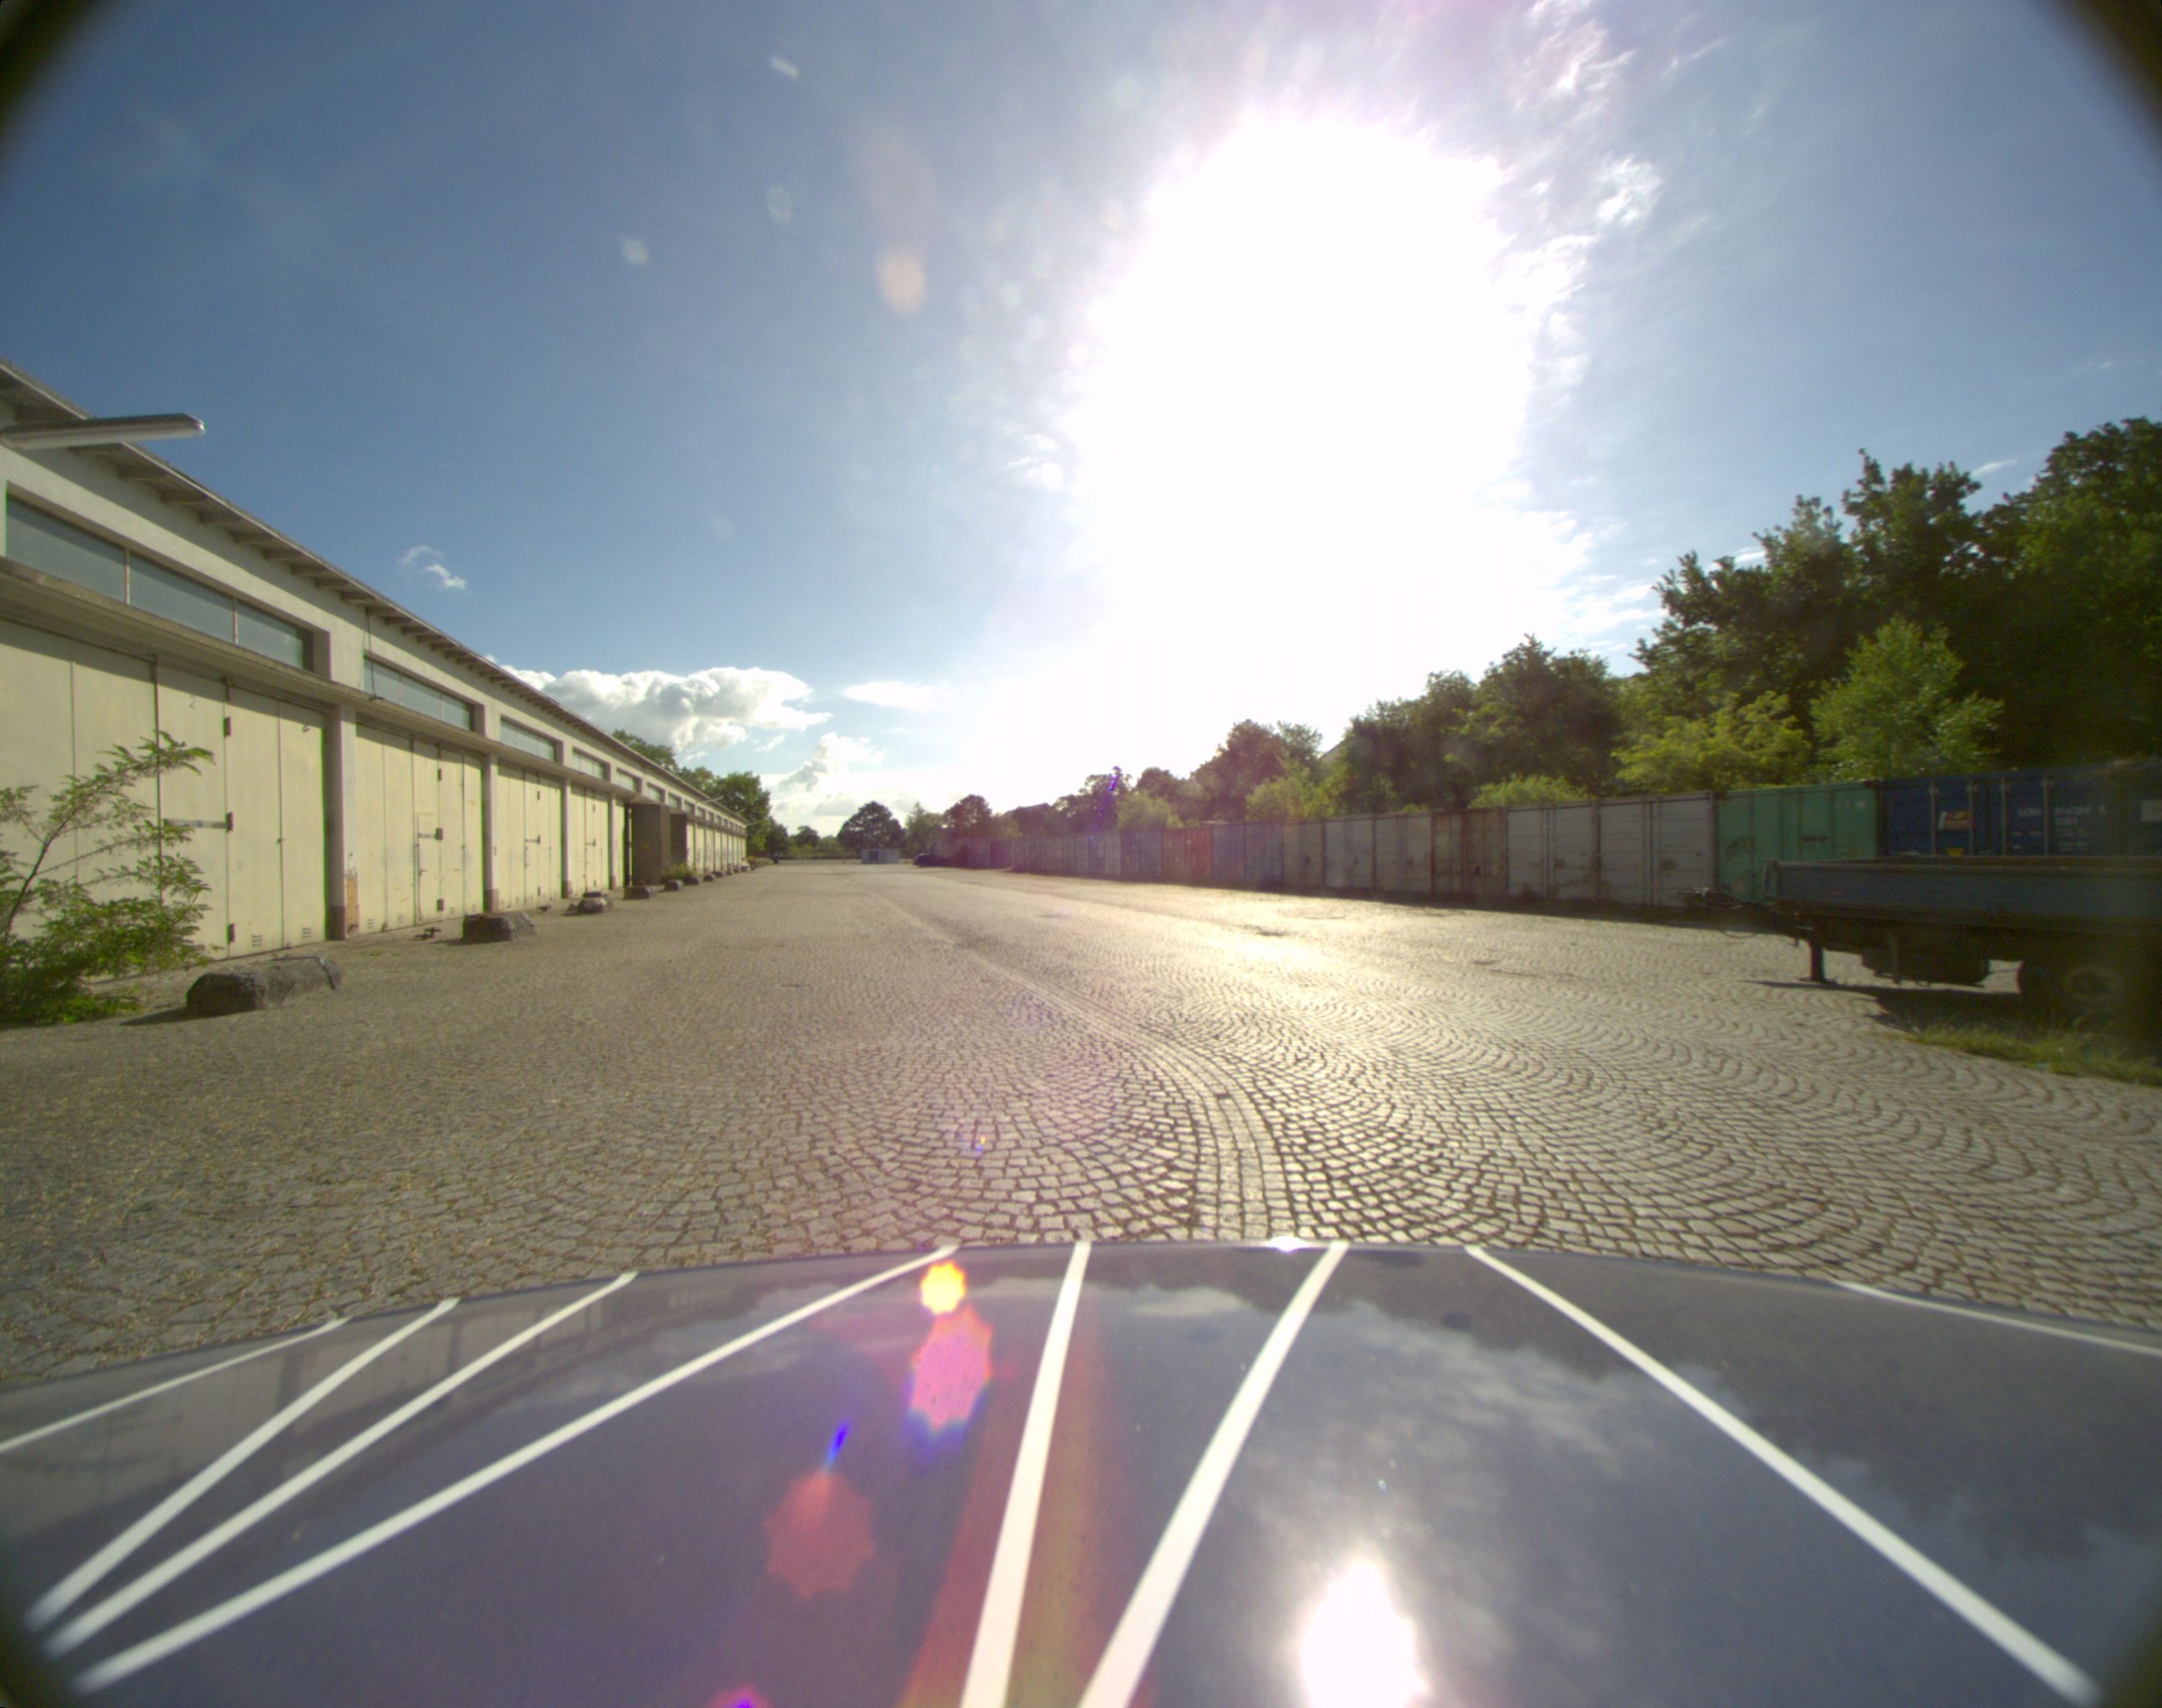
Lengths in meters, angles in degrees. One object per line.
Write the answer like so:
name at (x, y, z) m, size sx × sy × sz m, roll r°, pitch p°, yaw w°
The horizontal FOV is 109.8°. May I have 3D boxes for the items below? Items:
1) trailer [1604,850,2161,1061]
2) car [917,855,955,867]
trailer at (9.114, 0.766, 7.104) m, size 2.858 × 1.509 × 6.482 m, roll -2°, pitch 0°, yaw -20°
car at (-15.777, 0.729, 82.615) m, size 3.881 × 1.259 × 1.587 m, roll -1°, pitch 1°, yaw -22°
